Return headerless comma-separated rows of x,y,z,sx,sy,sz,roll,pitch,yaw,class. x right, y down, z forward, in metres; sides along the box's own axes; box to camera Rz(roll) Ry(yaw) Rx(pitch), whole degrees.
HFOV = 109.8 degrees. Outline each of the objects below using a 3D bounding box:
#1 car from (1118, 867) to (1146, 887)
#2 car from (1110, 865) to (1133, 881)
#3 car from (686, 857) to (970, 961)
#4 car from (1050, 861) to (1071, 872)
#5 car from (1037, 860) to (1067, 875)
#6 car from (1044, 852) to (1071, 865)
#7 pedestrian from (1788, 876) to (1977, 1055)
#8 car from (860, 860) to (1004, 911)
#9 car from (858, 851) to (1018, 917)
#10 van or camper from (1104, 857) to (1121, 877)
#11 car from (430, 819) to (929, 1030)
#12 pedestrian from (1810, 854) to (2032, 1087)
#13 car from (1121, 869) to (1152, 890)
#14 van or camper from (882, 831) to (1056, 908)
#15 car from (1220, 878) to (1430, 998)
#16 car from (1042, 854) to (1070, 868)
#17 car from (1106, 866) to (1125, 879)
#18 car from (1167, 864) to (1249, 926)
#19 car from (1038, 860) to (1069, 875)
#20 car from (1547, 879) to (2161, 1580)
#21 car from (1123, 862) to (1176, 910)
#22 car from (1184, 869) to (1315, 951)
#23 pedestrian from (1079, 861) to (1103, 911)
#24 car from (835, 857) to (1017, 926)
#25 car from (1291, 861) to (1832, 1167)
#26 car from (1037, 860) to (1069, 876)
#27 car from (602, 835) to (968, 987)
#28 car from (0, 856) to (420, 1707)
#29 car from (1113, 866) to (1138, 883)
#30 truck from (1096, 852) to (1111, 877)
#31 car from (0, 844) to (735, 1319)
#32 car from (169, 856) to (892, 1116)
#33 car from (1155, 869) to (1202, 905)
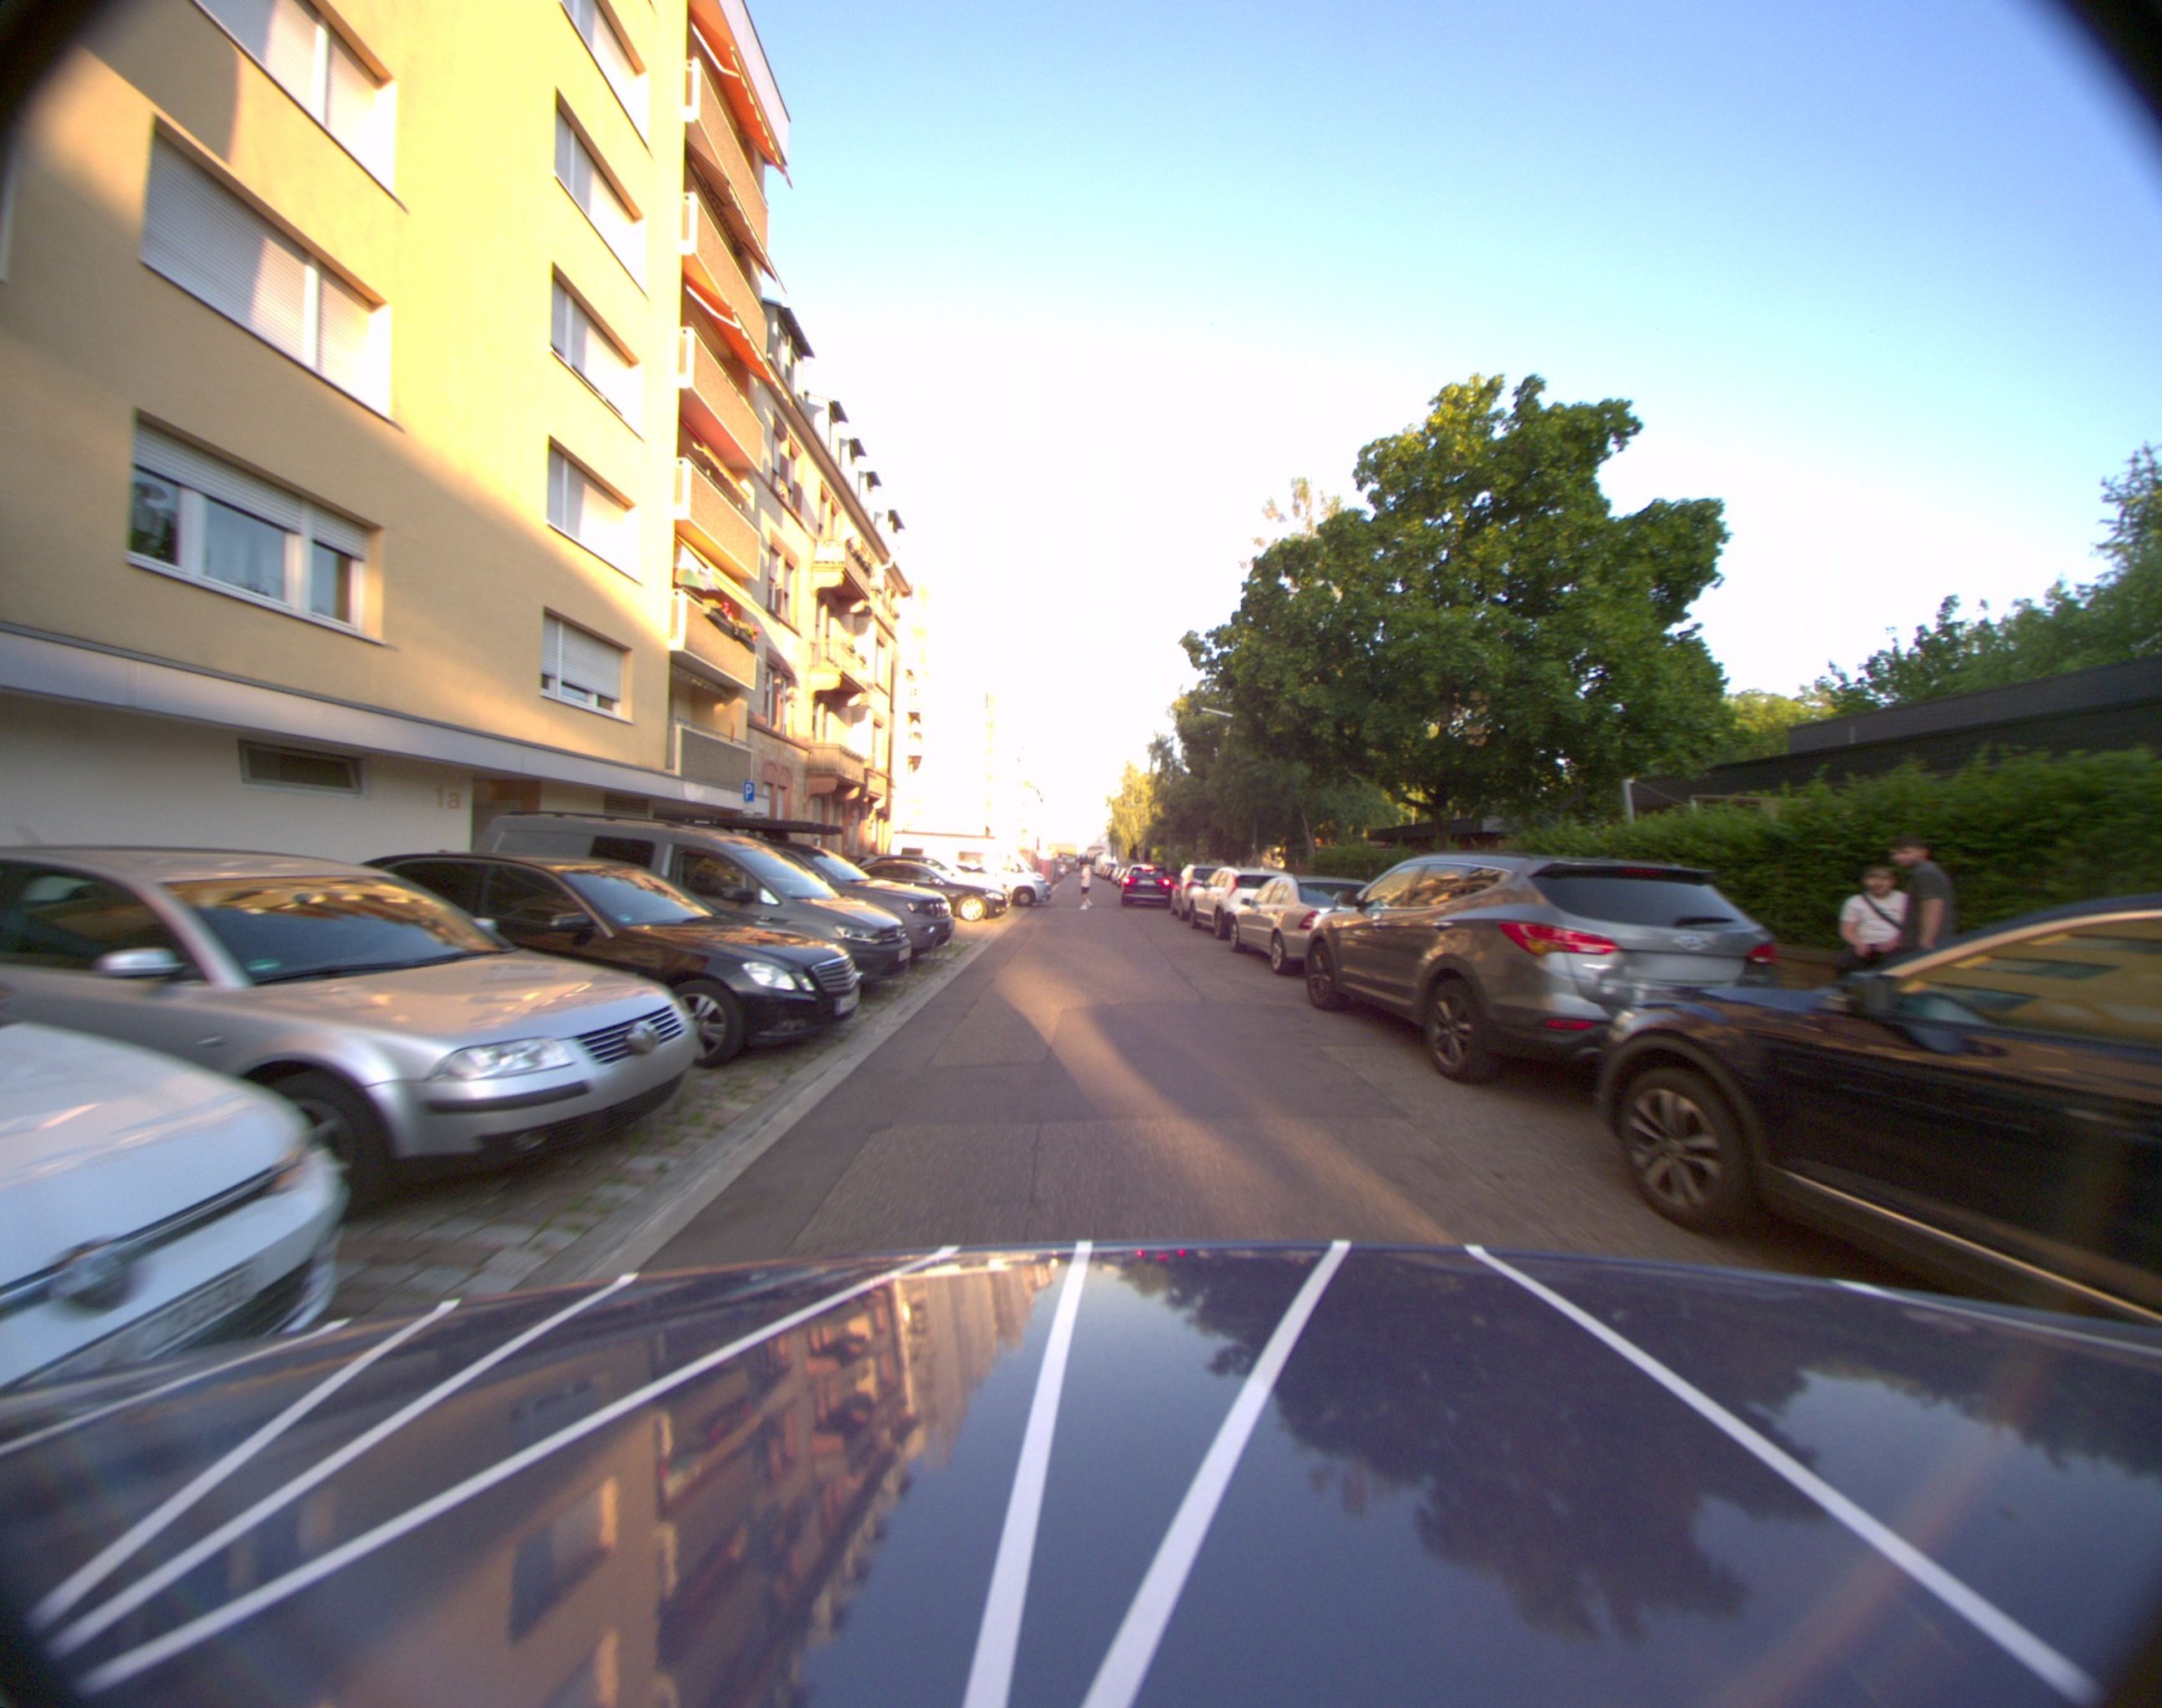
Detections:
3.737,1.702,56.392,1.738,1.358,3.805,2,-1,-1,car
3.757,1.775,70.999,1.738,1.358,4.291,2,-1,-1,car
-4.401,0.948,13.692,4.414,1.544,1.846,2,-2,2,car
-3.828,2.404,143.497,3.997,2.002,2.000,0,0,0,car
-3.902,1.790,102.566,3.997,2.002,2.000,0,0,0,car
-3.518,0.710,114.230,3.997,2.002,2.000,0,0,0,car
7.350,0.975,7.019,0.750,1.499,0.902,-2,0,-2,pedestrian
-4.912,1.027,25.501,4.414,1.609,1.846,0,-1,2,car
-4.222,0.872,22.969,4.415,1.738,1.845,2,0,0,car
3.872,1.608,94.442,1.825,2.400,4.291,2,-1,-1,van or camper
-4.280,0.701,8.654,4.649,1.970,1.845,2,2,0,car
6.676,0.879,6.086,0.901,1.722,0.750,-2,0,-1,pedestrian
3.724,1.704,51.260,1.738,1.280,3.805,2,-1,-1,car
-4.065,0.572,28.358,6.074,2.489,2.050,3,0,0,van or camper
3.577,1.168,12.048,1.738,1.418,4.286,2,-1,-3,car
-3.633,1.048,110.941,3.997,2.002,2.000,0,0,0,car
3.757,2.002,83.195,1.738,1.358,4.291,2,-1,-1,car
3.658,1.141,22.534,1.738,1.621,3.981,2,-1,1,car
-3.548,1.772,100.018,3.997,2.002,2.000,0,0,0,car
3.364,0.915,1.832,1.738,1.558,4.167,2,-1,-3,car
2.665,1.181,28.963,1.736,1.621,4.129,2,-1,8,car
3.621,1.148,17.146,1.763,1.533,4.280,2,-1,-3,car
0.355,1.091,26.372,0.748,1.692,0.558,-2,0,-3,pedestrian
-4.055,0.963,20.397,4.414,1.545,1.845,2,1,1,car
3.400,0.963,6.562,1.738,1.720,4.322,2,-1,-3,car
-3.595,1.756,97.799,3.997,2.002,2.000,0,0,0,car
-4.084,0.766,11.058,4.524,1.852,1.846,2,0,0,car
-4.299,0.800,1.459,4.415,1.622,1.845,2,2,0,car
3.758,1.716,64.949,1.738,1.358,4.291,2,-1,-1,car
3.535,1.603,121.159,2.183,3.859,4.927,0,0,0,truck
-4.349,0.839,3.729,4.415,1.584,1.845,2,1,0,car
-3.974,0.908,6.084,4.415,1.554,1.845,2,1,0,car
4.255,1.433,33.638,1.624,1.417,3.416,2,-1,0,car
